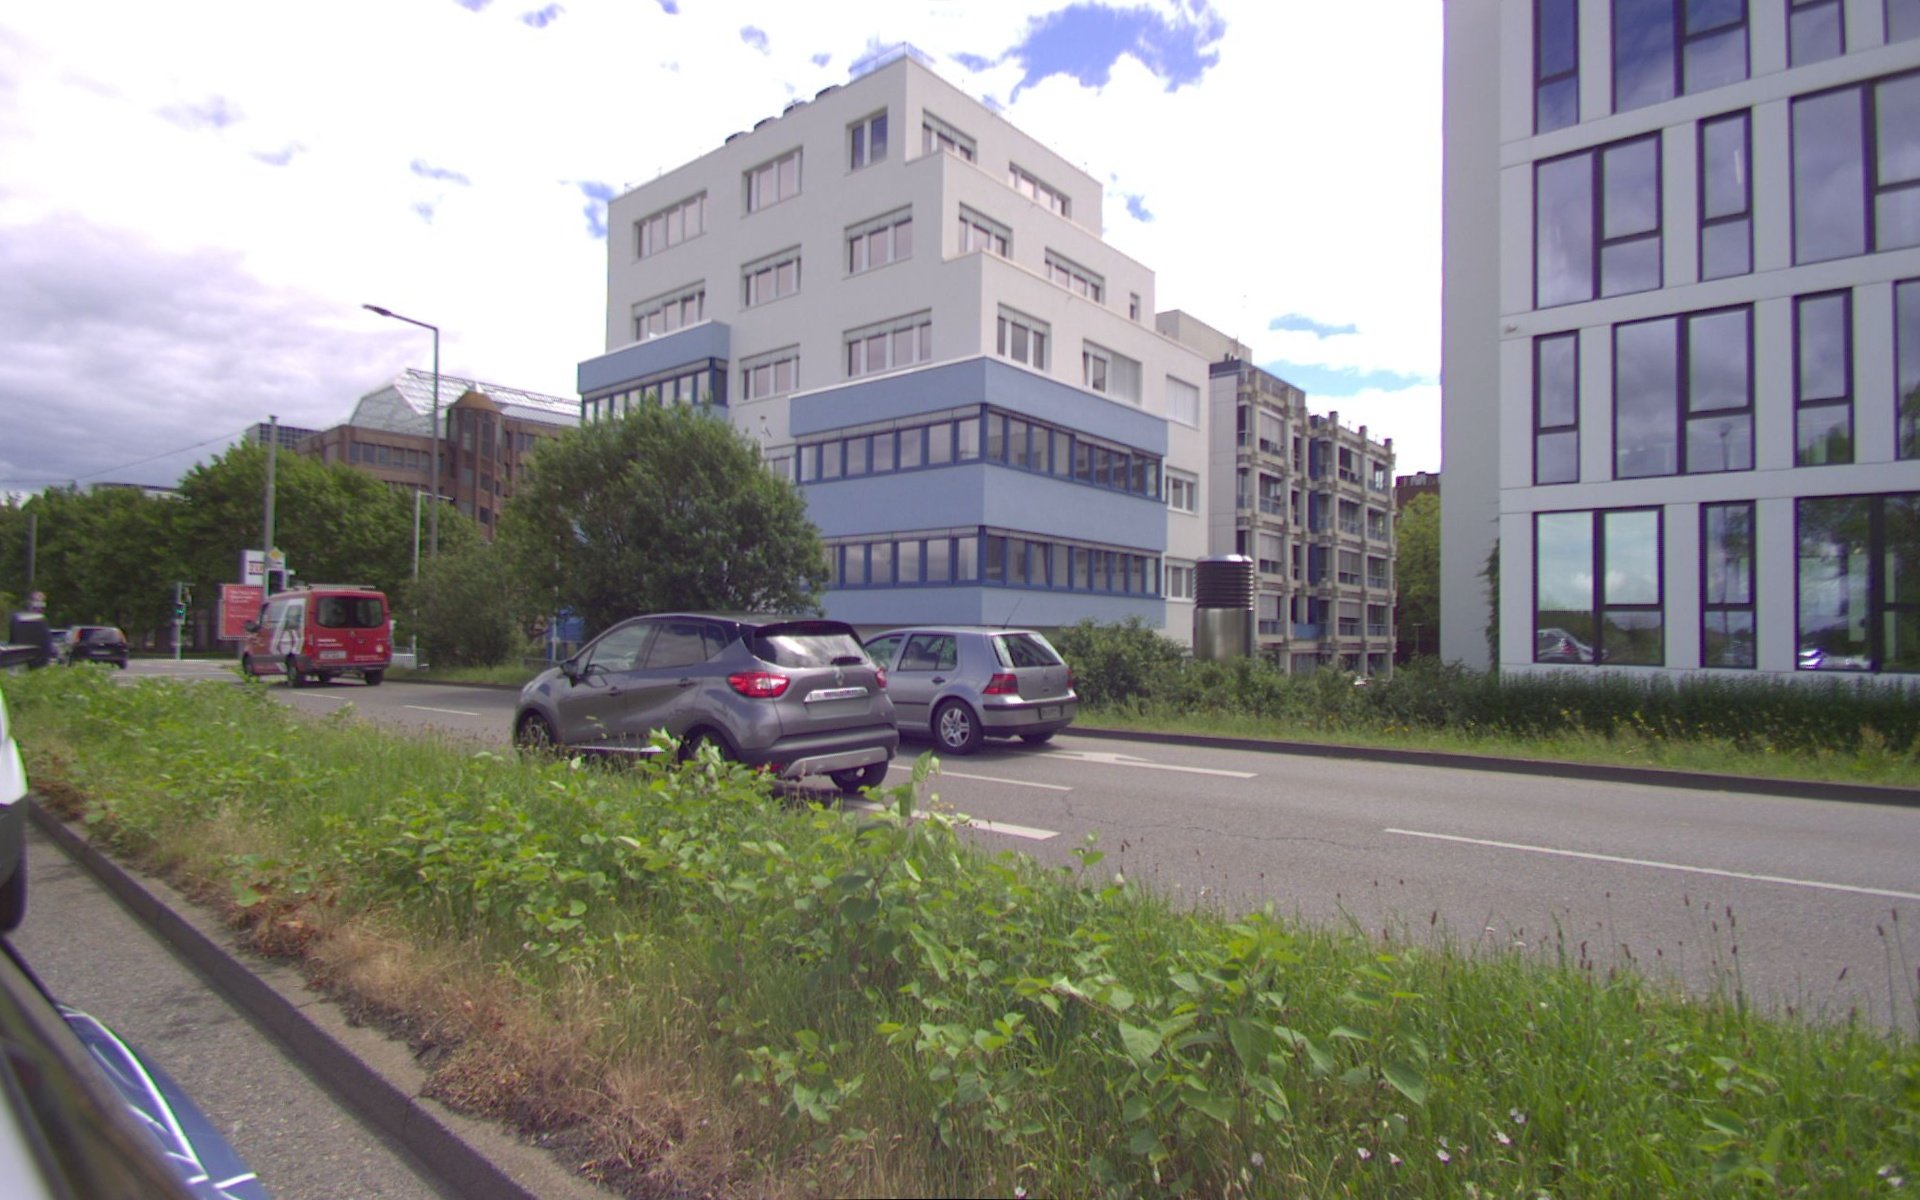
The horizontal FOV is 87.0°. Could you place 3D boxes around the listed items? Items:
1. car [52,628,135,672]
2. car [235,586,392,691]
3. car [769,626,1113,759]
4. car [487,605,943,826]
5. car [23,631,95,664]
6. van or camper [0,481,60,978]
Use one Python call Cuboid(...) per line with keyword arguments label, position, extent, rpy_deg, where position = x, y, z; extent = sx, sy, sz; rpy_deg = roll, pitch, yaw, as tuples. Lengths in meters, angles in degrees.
Cuboid(label="car", position=(-30.940, 1.749, 36.088), extent=(3.998, 1.493, 1.661), rpy_deg=(-2, -2, 41))
Cuboid(label="car", position=(-16.694, 0.956, 26.011), extent=(5.238, 2.430, 1.973), rpy_deg=(-1, -2, 41))
Cuboid(label="car", position=(-0.333, 1.027, 12.577), extent=(3.998, 1.364, 1.973), rpy_deg=(-2, -2, 41))
Cuboid(label="car", position=(-2.291, 0.861, 9.015), extent=(3.995, 1.528, 1.916), rpy_deg=(-2, -2, 39))
Cuboid(label="car", position=(-40.486, 2.105, 45.464), extent=(3.997, 1.409, 1.913), rpy_deg=(-2, -2, 41))
Cuboid(label="van or camper", position=(-6.705, 0.554, 5.277), extent=(5.791, 2.029, 1.974), rpy_deg=(-1, -3, 38))
